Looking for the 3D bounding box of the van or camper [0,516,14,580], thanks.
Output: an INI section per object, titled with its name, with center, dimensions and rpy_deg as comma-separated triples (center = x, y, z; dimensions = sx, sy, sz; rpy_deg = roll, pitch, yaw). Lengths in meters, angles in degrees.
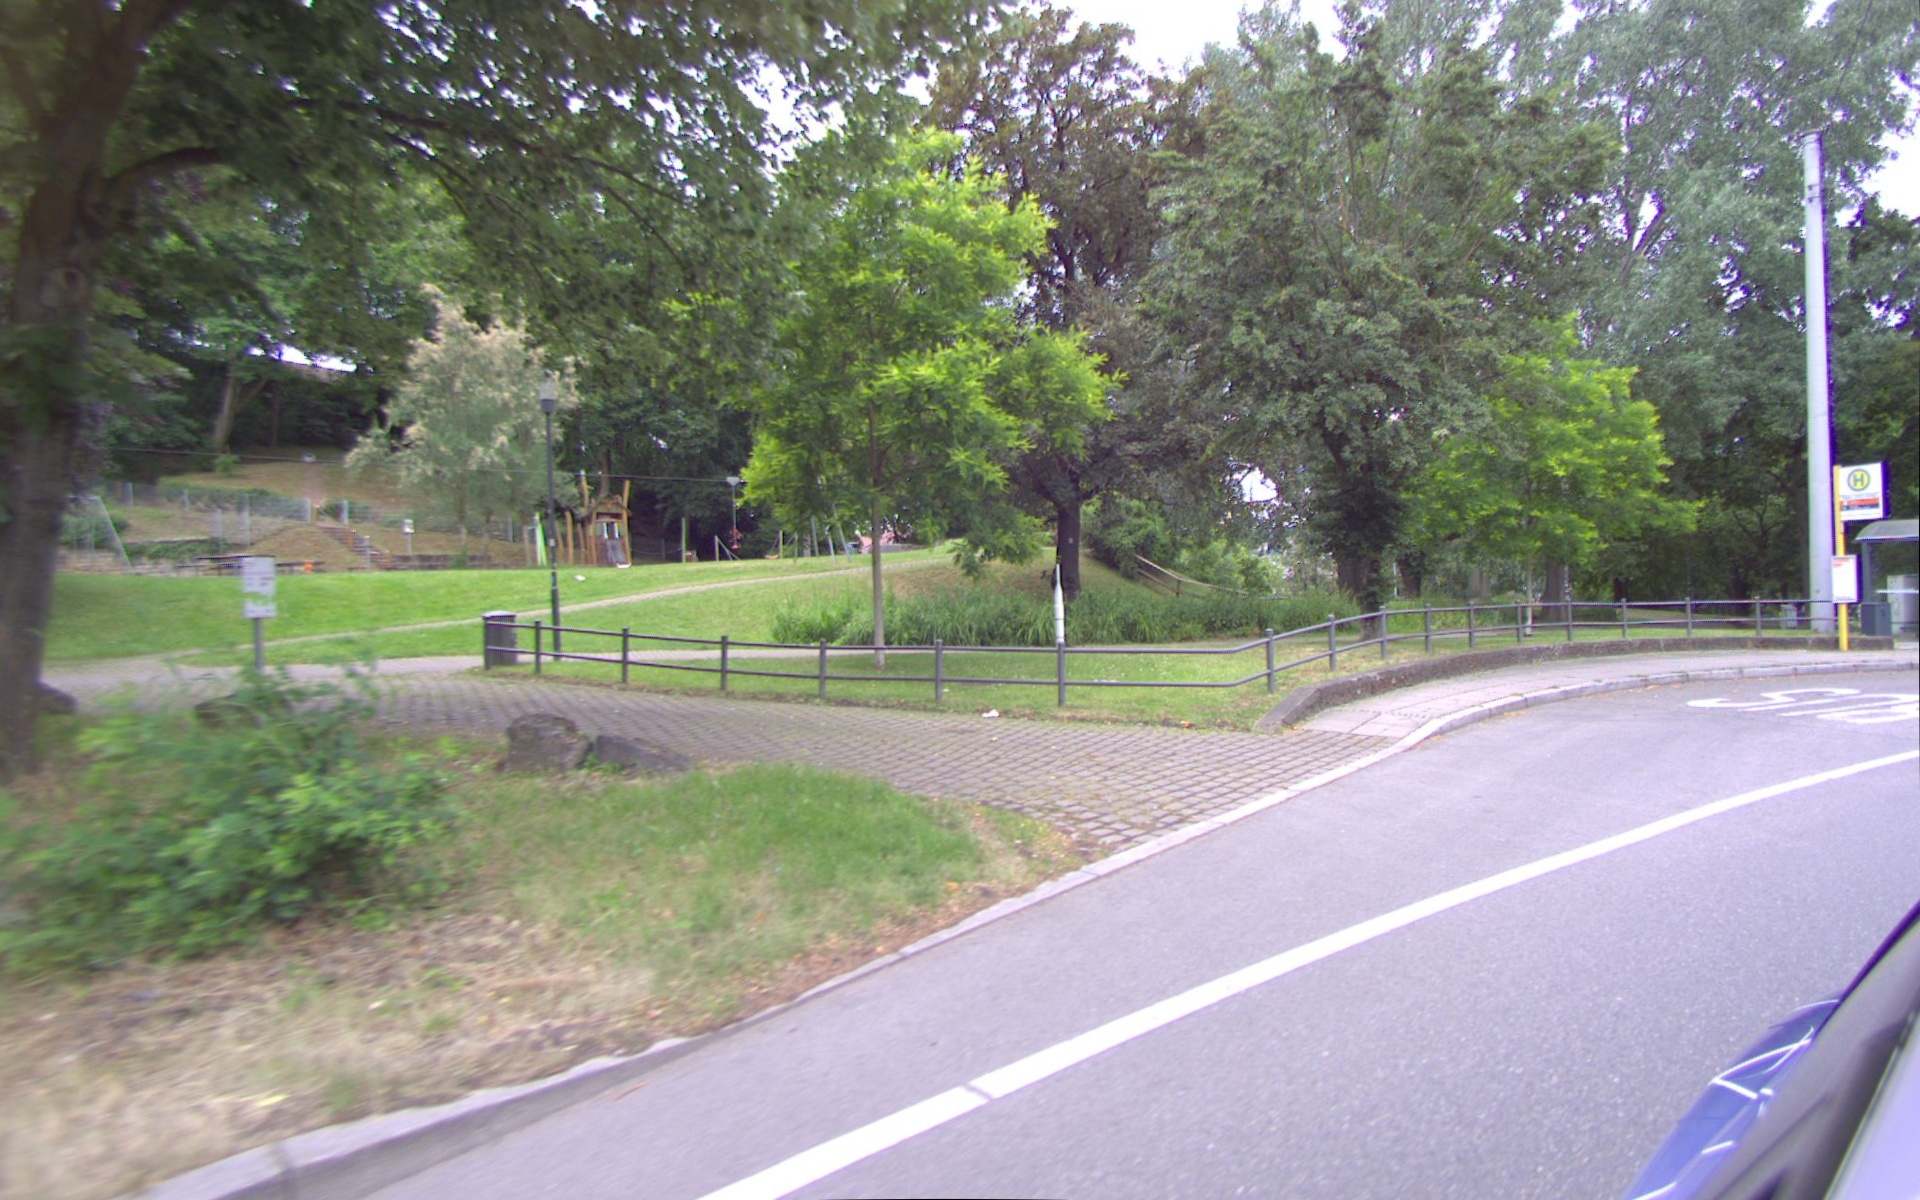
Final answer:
[van or camper]
center = -33.552, -1.719, 32.228
dimensions = 5.355, 2.038, 2.304
rpy_deg = 2, 1, 11
